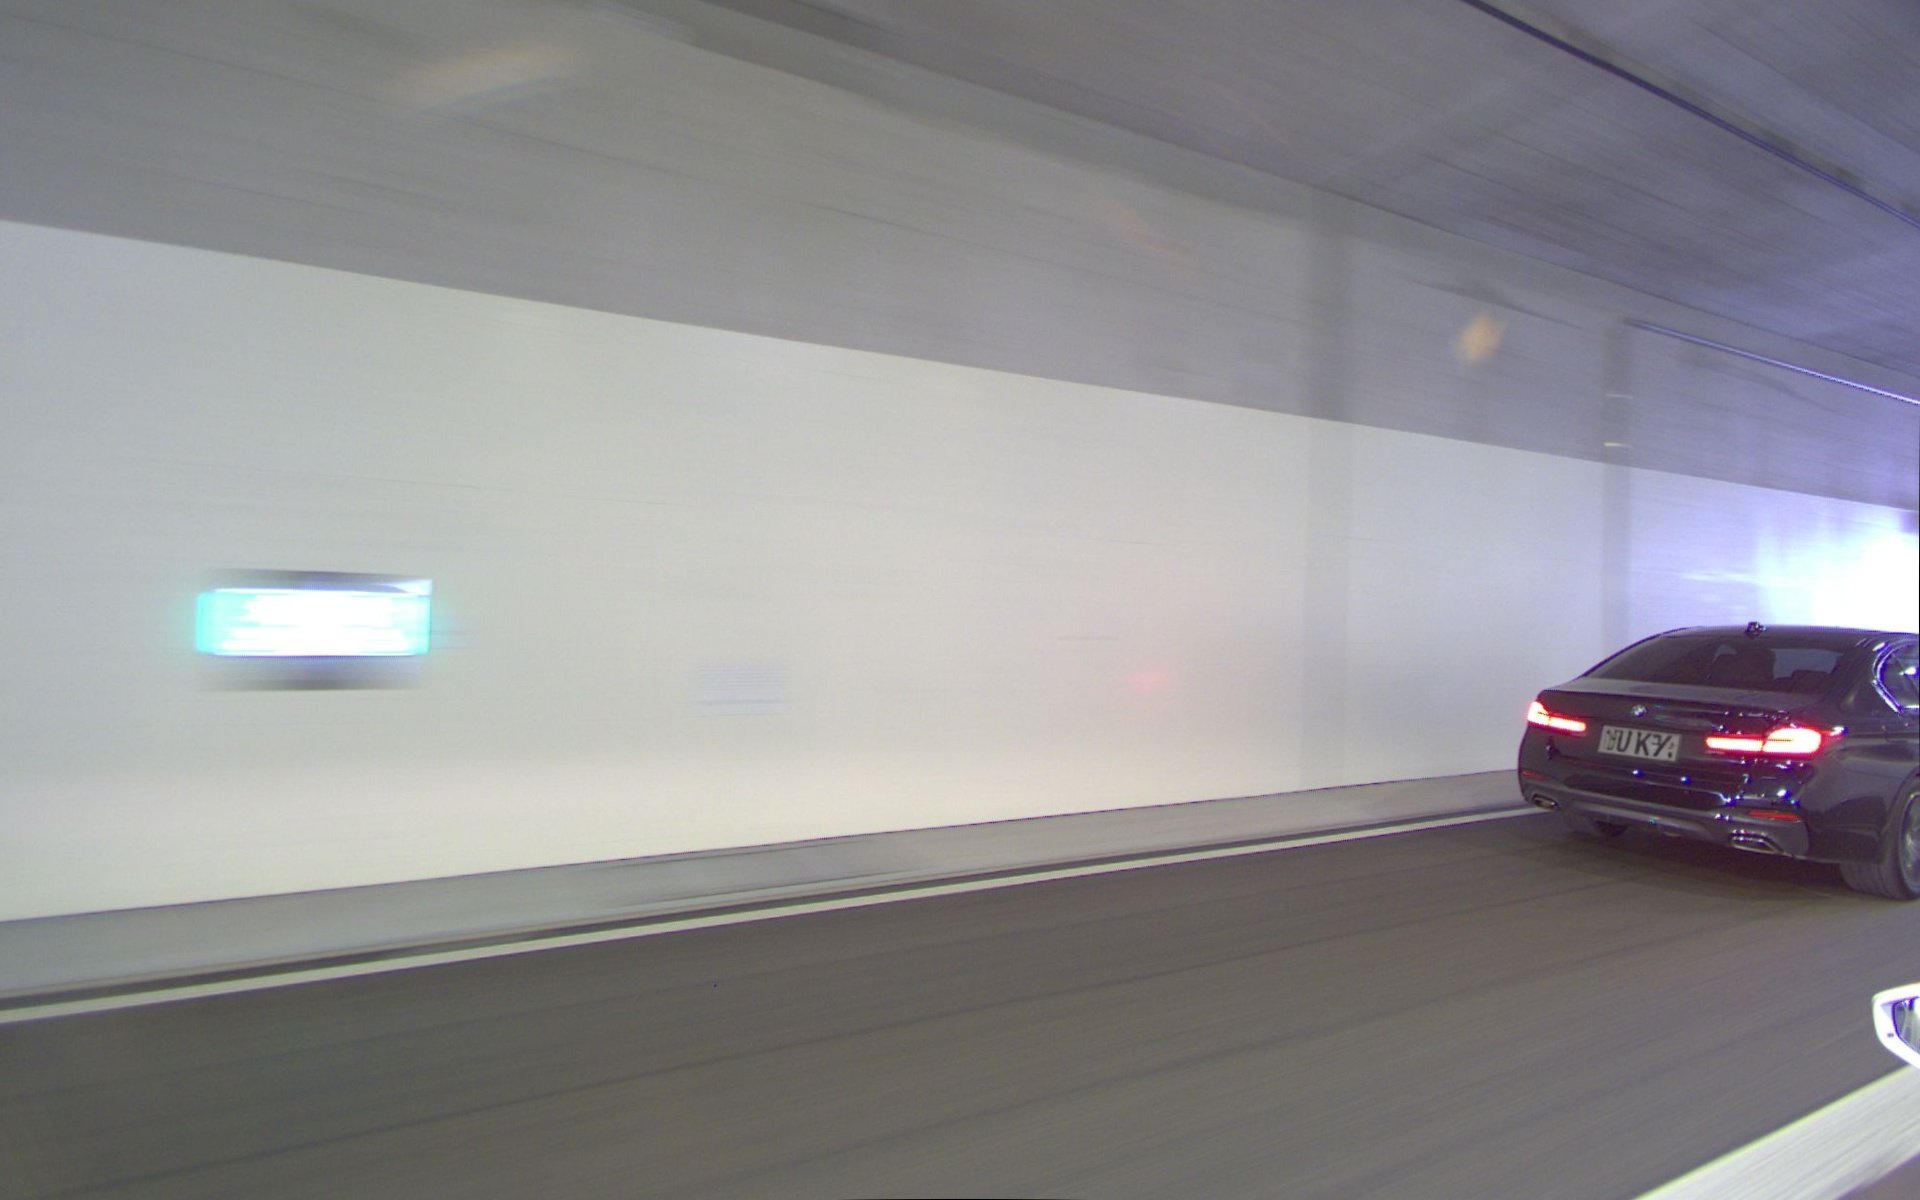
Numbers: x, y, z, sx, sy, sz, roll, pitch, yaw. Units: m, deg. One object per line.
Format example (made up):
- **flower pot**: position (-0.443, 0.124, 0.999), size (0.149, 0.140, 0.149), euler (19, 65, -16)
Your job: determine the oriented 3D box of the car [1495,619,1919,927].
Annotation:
- **car**: position (5.866, 0.901, 6.721), size (4.791, 1.441, 1.689), euler (2, 0, -29)
